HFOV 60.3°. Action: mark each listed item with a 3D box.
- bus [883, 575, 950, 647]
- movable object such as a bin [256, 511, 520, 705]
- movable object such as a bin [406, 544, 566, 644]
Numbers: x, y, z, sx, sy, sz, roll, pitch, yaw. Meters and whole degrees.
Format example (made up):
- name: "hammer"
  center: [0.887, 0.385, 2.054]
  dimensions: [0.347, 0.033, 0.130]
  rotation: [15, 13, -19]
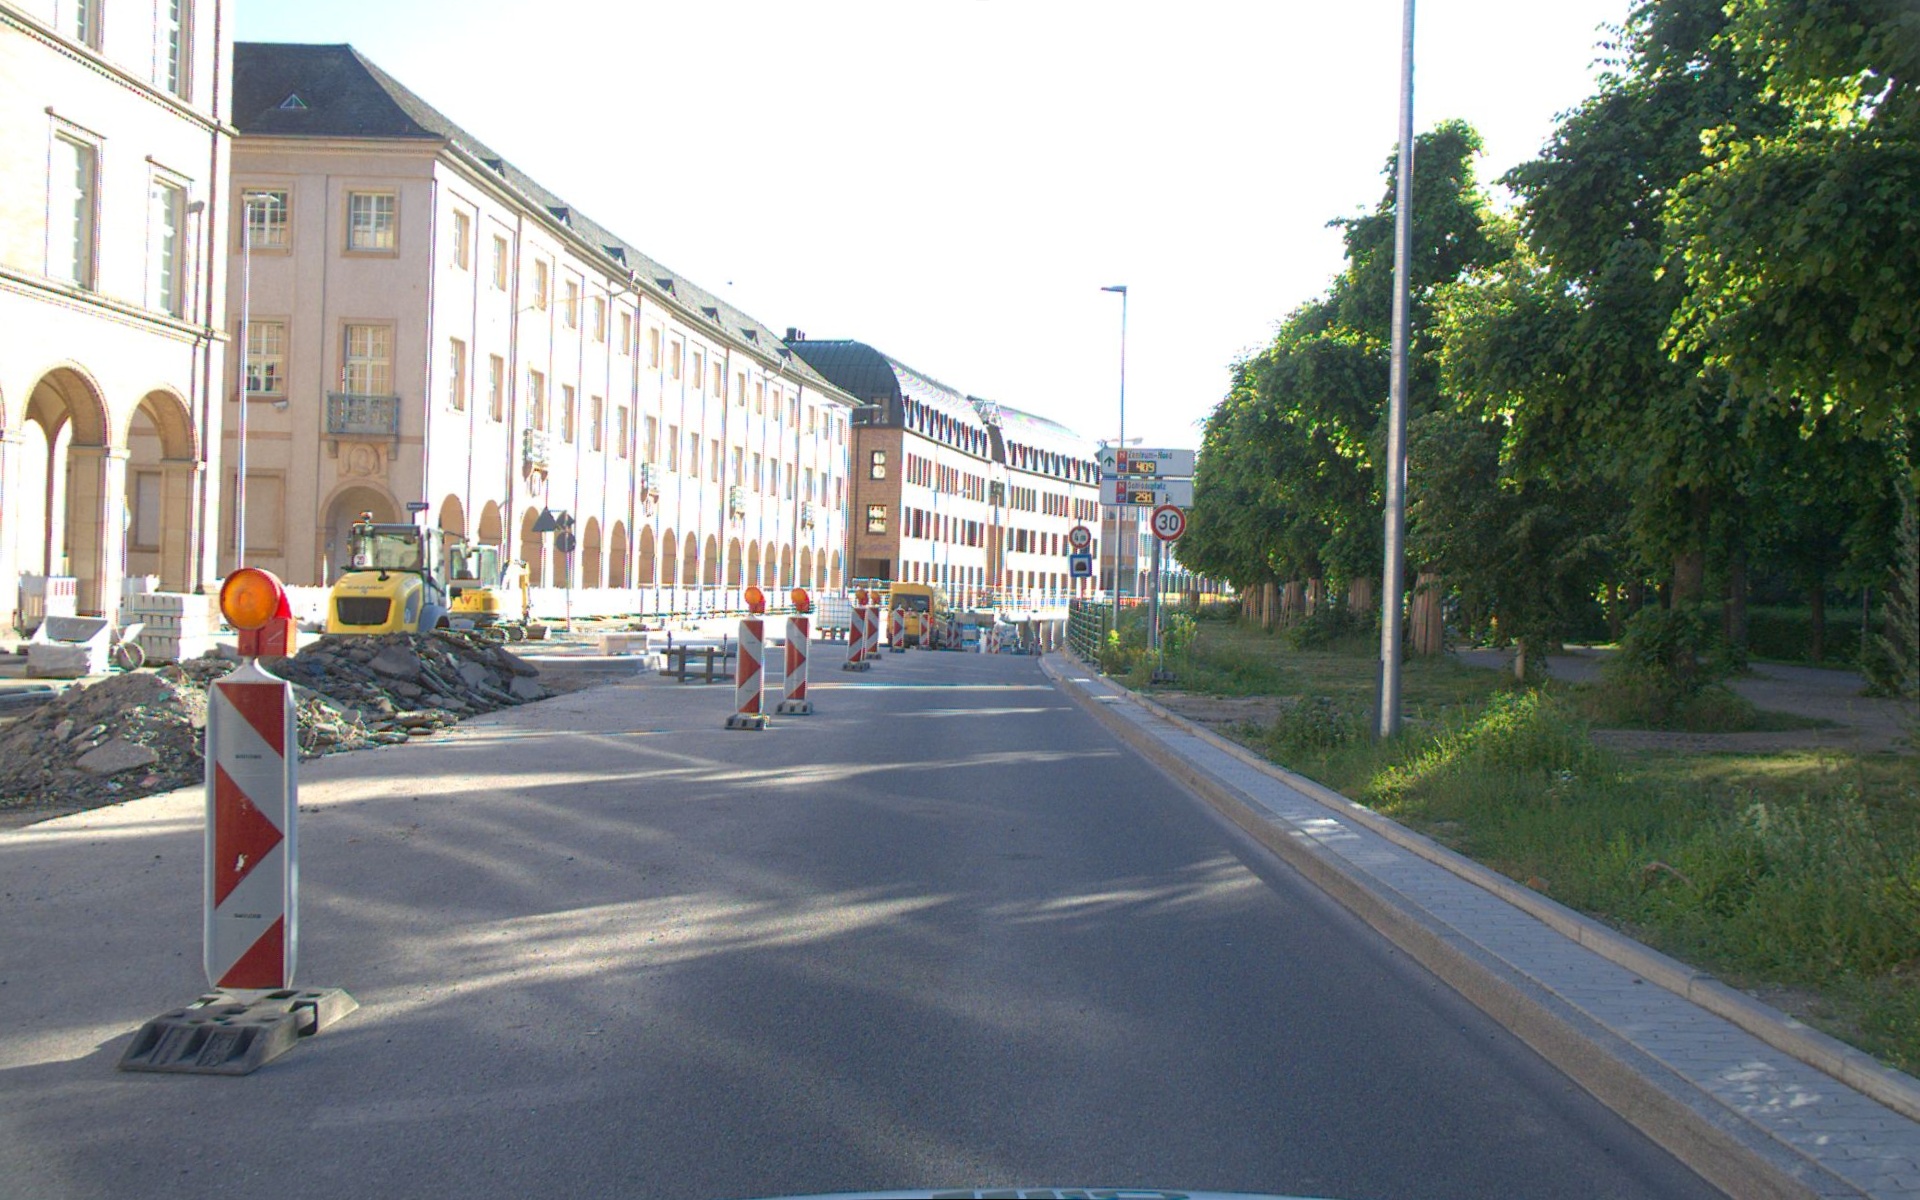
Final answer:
- name: "bus"
  center: [-1.722, 0.506, 67.181]
  dimensions: [2.029, 2.733, 4.686]
  rotation: [2, -2, 6]
- name: "movable object such as a bin"
  center: [-8.207, 0.051, 24.240]
  dimensions: [2.031, 2.518, 4.619]
  rotation: [2, 1, 2]
- name: "movable object such as a bin"
  center: [-12.152, -0.164, 42.728]
  dimensions: [2.492, 2.390, 4.462]
  rotation: [1, 0, 5]
